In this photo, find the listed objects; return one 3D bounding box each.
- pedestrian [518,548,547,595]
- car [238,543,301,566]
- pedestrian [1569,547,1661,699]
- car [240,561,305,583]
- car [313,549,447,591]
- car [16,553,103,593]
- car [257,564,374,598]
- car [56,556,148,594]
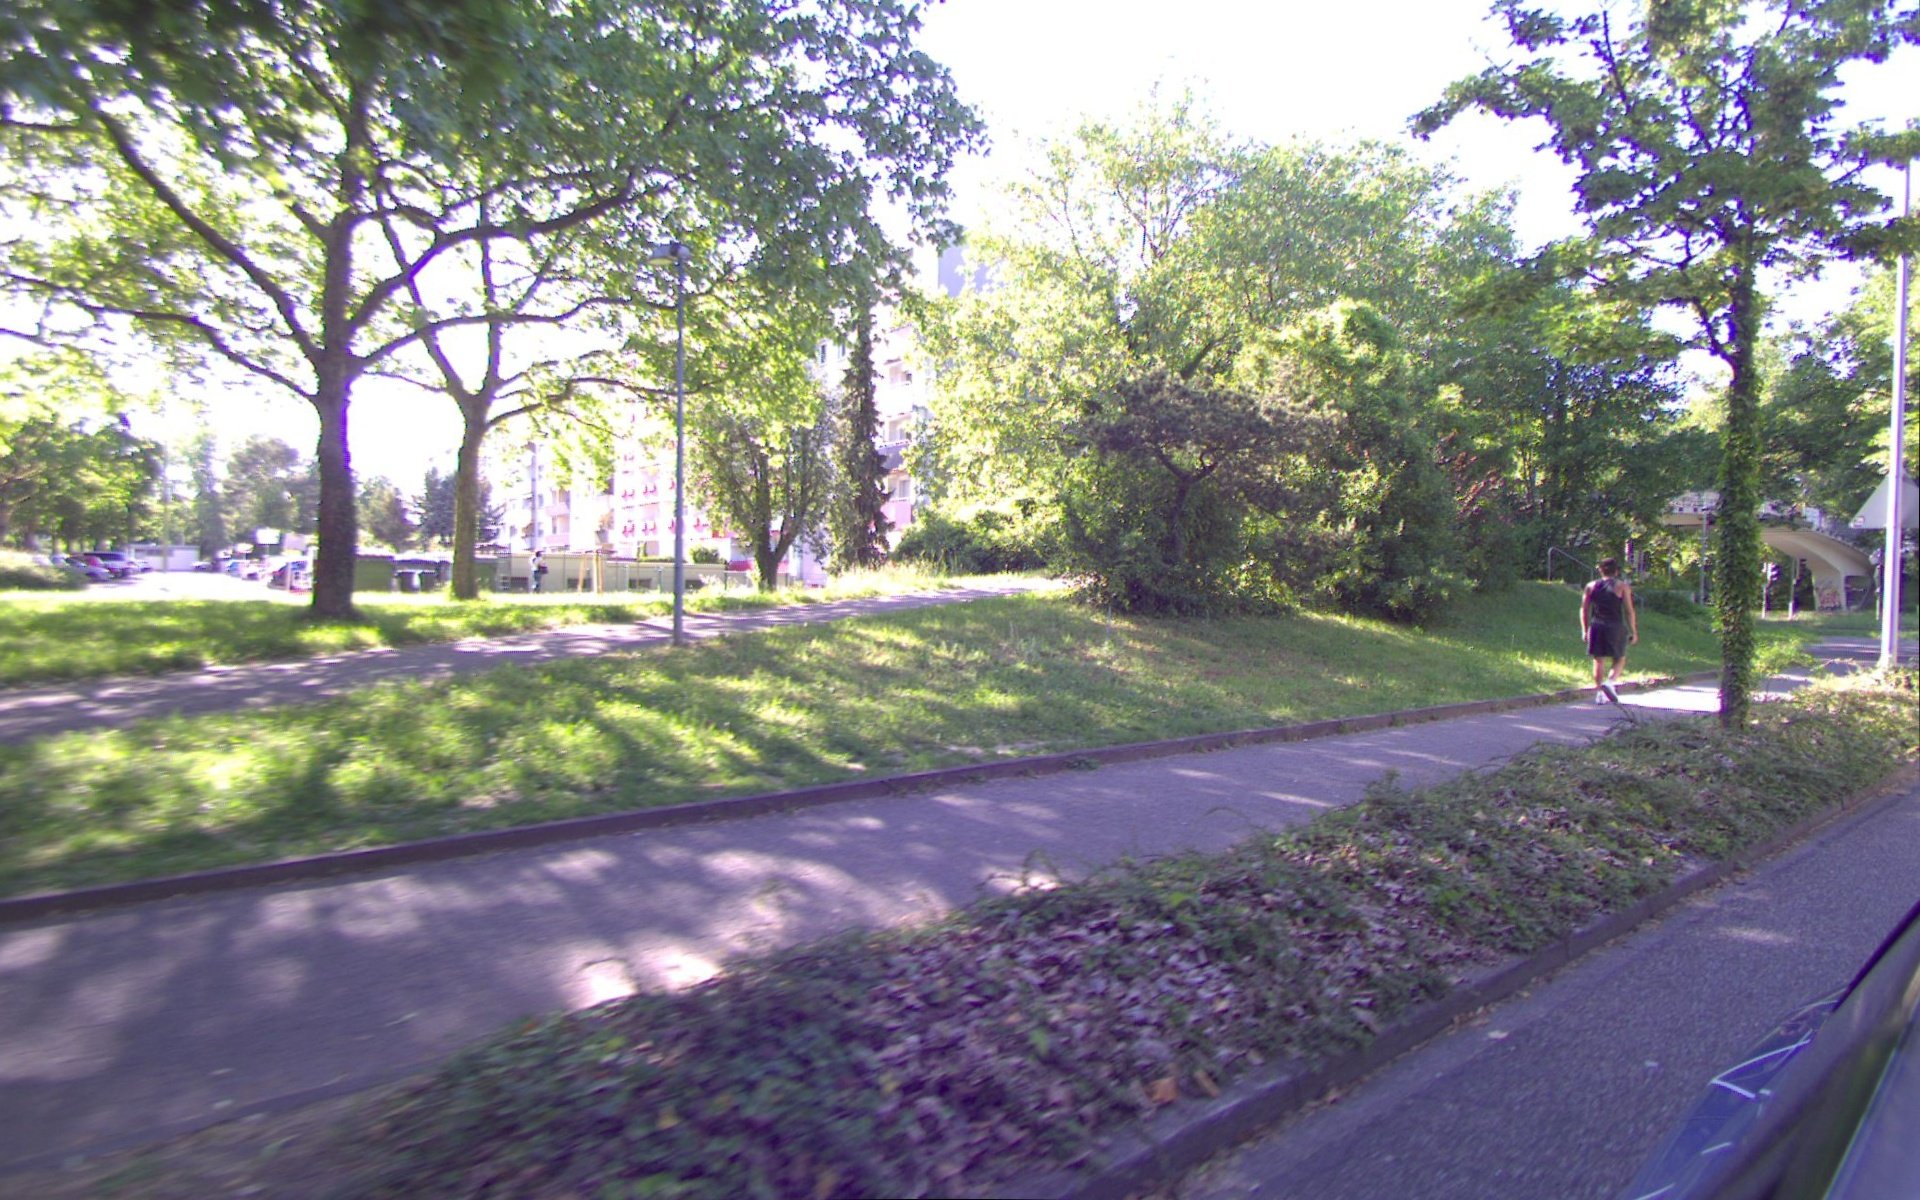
[{"bbox_3d":[-14.896,-0.992,35.270,0.619,1.608,0.675,-1,-1,22],"label":"pedestrian"},{"bbox_3d":[-52.587,-3.450,77.134,3.925,1.644,1.999,-1,0,-36],"label":"car"},{"bbox_3d":[8.306,0.267,12.834,0.659,1.855,0.793,0,1,-38],"label":"pedestrian"},{"bbox_3d":[-50.116,-2.043,73.800,3.925,1.548,1.999,-1,0,-36],"label":"car"},{"bbox_3d":[-19.761,-0.994,34.544,3.789,1.310,1.541,-1,0,-40],"label":"car"},{"bbox_3d":[-54.969,-1.612,61.877,3.930,2.321,1.997,-1,0,-41],"label":"car"},{"bbox_3d":[-27.933,-0.795,43.916,4.082,1.383,1.746,-1,0,-40],"label":"car"},{"bbox_3d":[-48.899,-1.412,57.742,3.930,2.039,1.997,-1,0,-41],"label":"car"}]
